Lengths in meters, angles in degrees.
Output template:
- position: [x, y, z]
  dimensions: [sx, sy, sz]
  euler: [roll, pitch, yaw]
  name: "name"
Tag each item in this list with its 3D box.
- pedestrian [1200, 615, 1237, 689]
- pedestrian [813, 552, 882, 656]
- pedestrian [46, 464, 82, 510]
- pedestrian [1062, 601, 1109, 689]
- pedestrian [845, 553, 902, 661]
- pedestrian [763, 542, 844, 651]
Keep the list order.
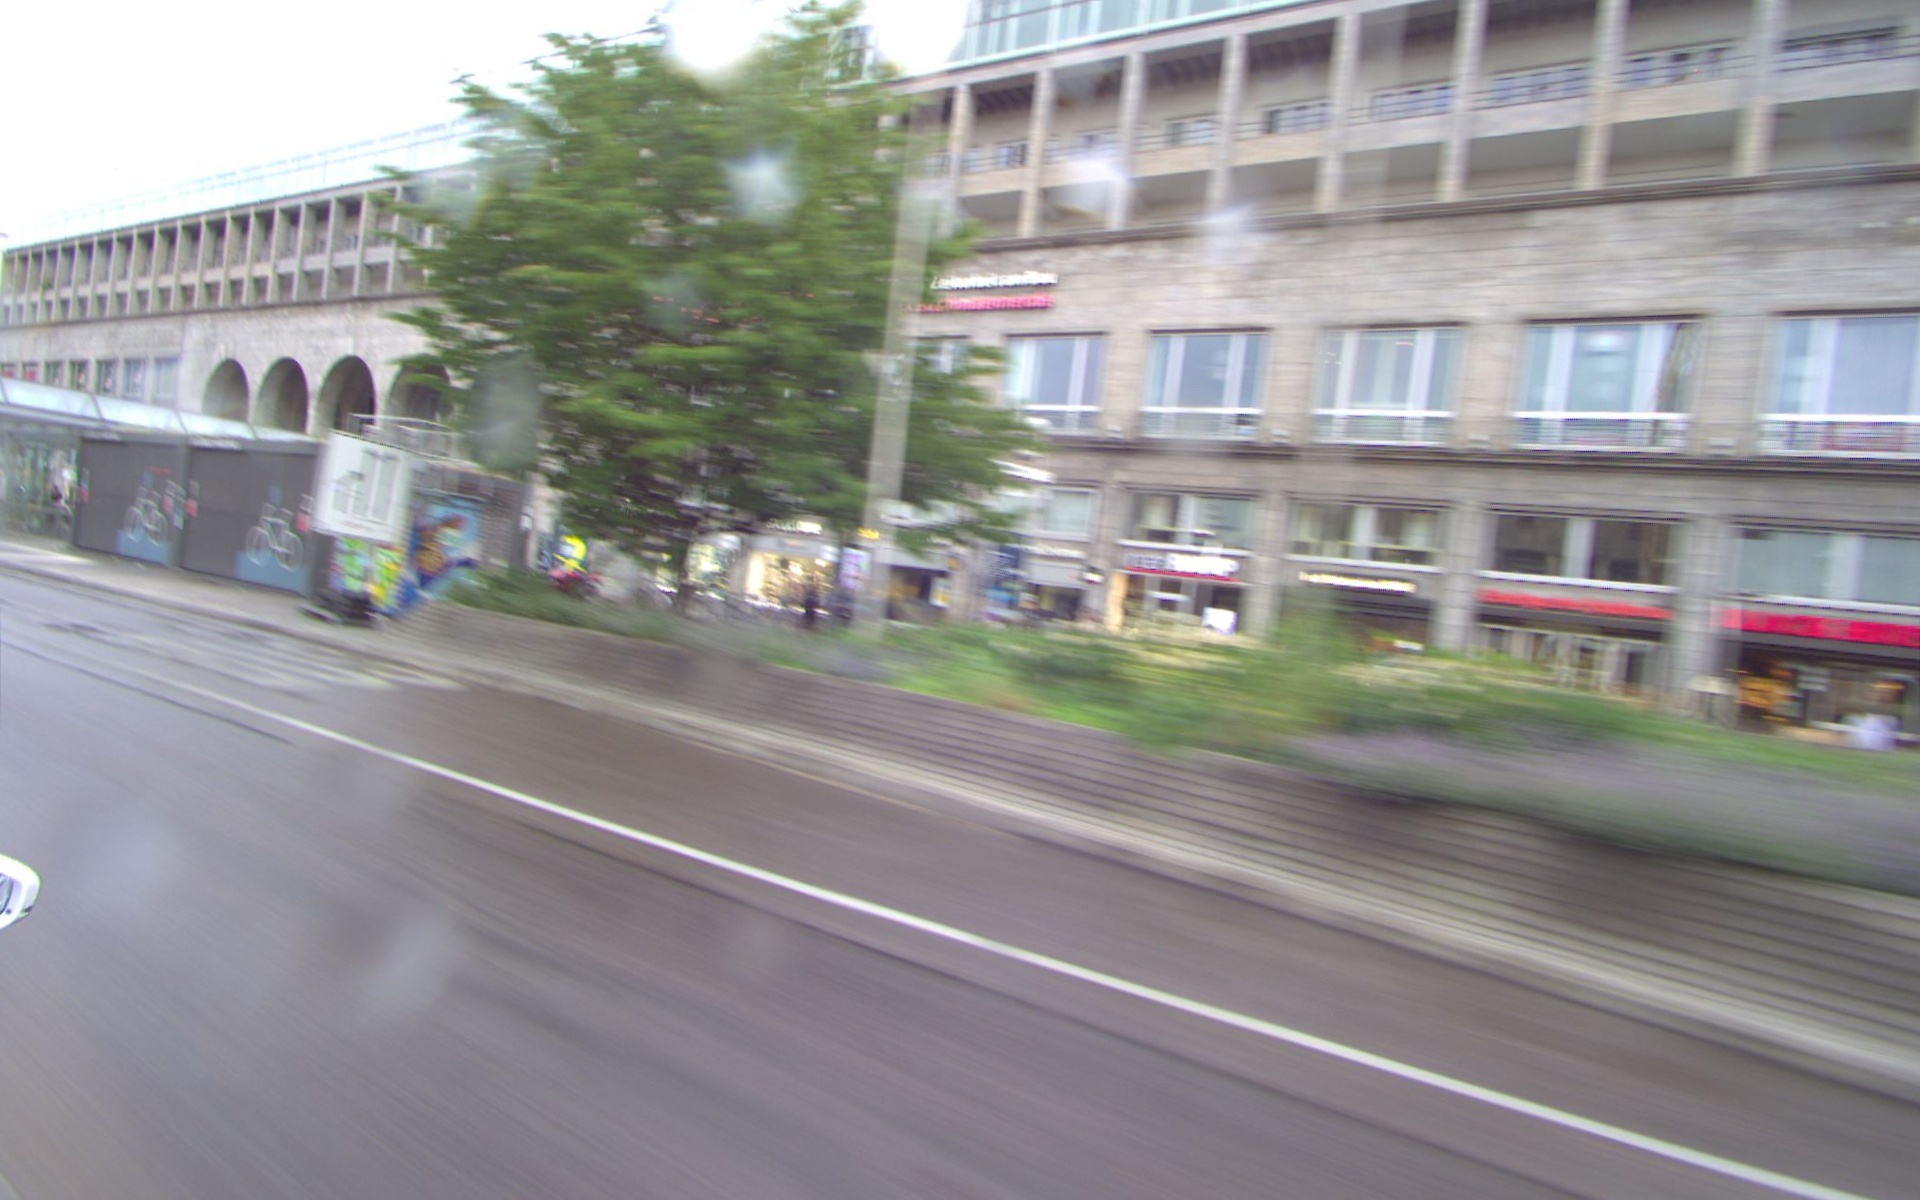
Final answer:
- position: [6.466, 1.300, 25.168]
  dimensions: [0.563, 1.773, 0.527]
  euler: [8, 1, 30]
  name: "pedestrian"
- position: [-2.048, 0.073, 18.286]
  dimensions: [0.853, 1.773, 0.613]
  euler: [8, 1, 29]
  name: "pedestrian"
- position: [-39.969, -5.033, 44.882]
  dimensions: [0.739, 1.854, 0.761]
  euler: [7, 1, 1]
  name: "pedestrian"
- position: [2.652, 0.947, 21.202]
  dimensions: [0.625, 1.773, 0.532]
  euler: [8, 1, 29]
  name: "pedestrian"
- position: [-1.489, 0.126, 17.376]
  dimensions: [0.558, 1.773, 0.567]
  euler: [8, 1, 29]
  name: "pedestrian"
- position: [-2.770, -0.054, 17.806]
  dimensions: [1.058, 1.773, 0.641]
  euler: [8, 1, 29]
  name: "pedestrian"
